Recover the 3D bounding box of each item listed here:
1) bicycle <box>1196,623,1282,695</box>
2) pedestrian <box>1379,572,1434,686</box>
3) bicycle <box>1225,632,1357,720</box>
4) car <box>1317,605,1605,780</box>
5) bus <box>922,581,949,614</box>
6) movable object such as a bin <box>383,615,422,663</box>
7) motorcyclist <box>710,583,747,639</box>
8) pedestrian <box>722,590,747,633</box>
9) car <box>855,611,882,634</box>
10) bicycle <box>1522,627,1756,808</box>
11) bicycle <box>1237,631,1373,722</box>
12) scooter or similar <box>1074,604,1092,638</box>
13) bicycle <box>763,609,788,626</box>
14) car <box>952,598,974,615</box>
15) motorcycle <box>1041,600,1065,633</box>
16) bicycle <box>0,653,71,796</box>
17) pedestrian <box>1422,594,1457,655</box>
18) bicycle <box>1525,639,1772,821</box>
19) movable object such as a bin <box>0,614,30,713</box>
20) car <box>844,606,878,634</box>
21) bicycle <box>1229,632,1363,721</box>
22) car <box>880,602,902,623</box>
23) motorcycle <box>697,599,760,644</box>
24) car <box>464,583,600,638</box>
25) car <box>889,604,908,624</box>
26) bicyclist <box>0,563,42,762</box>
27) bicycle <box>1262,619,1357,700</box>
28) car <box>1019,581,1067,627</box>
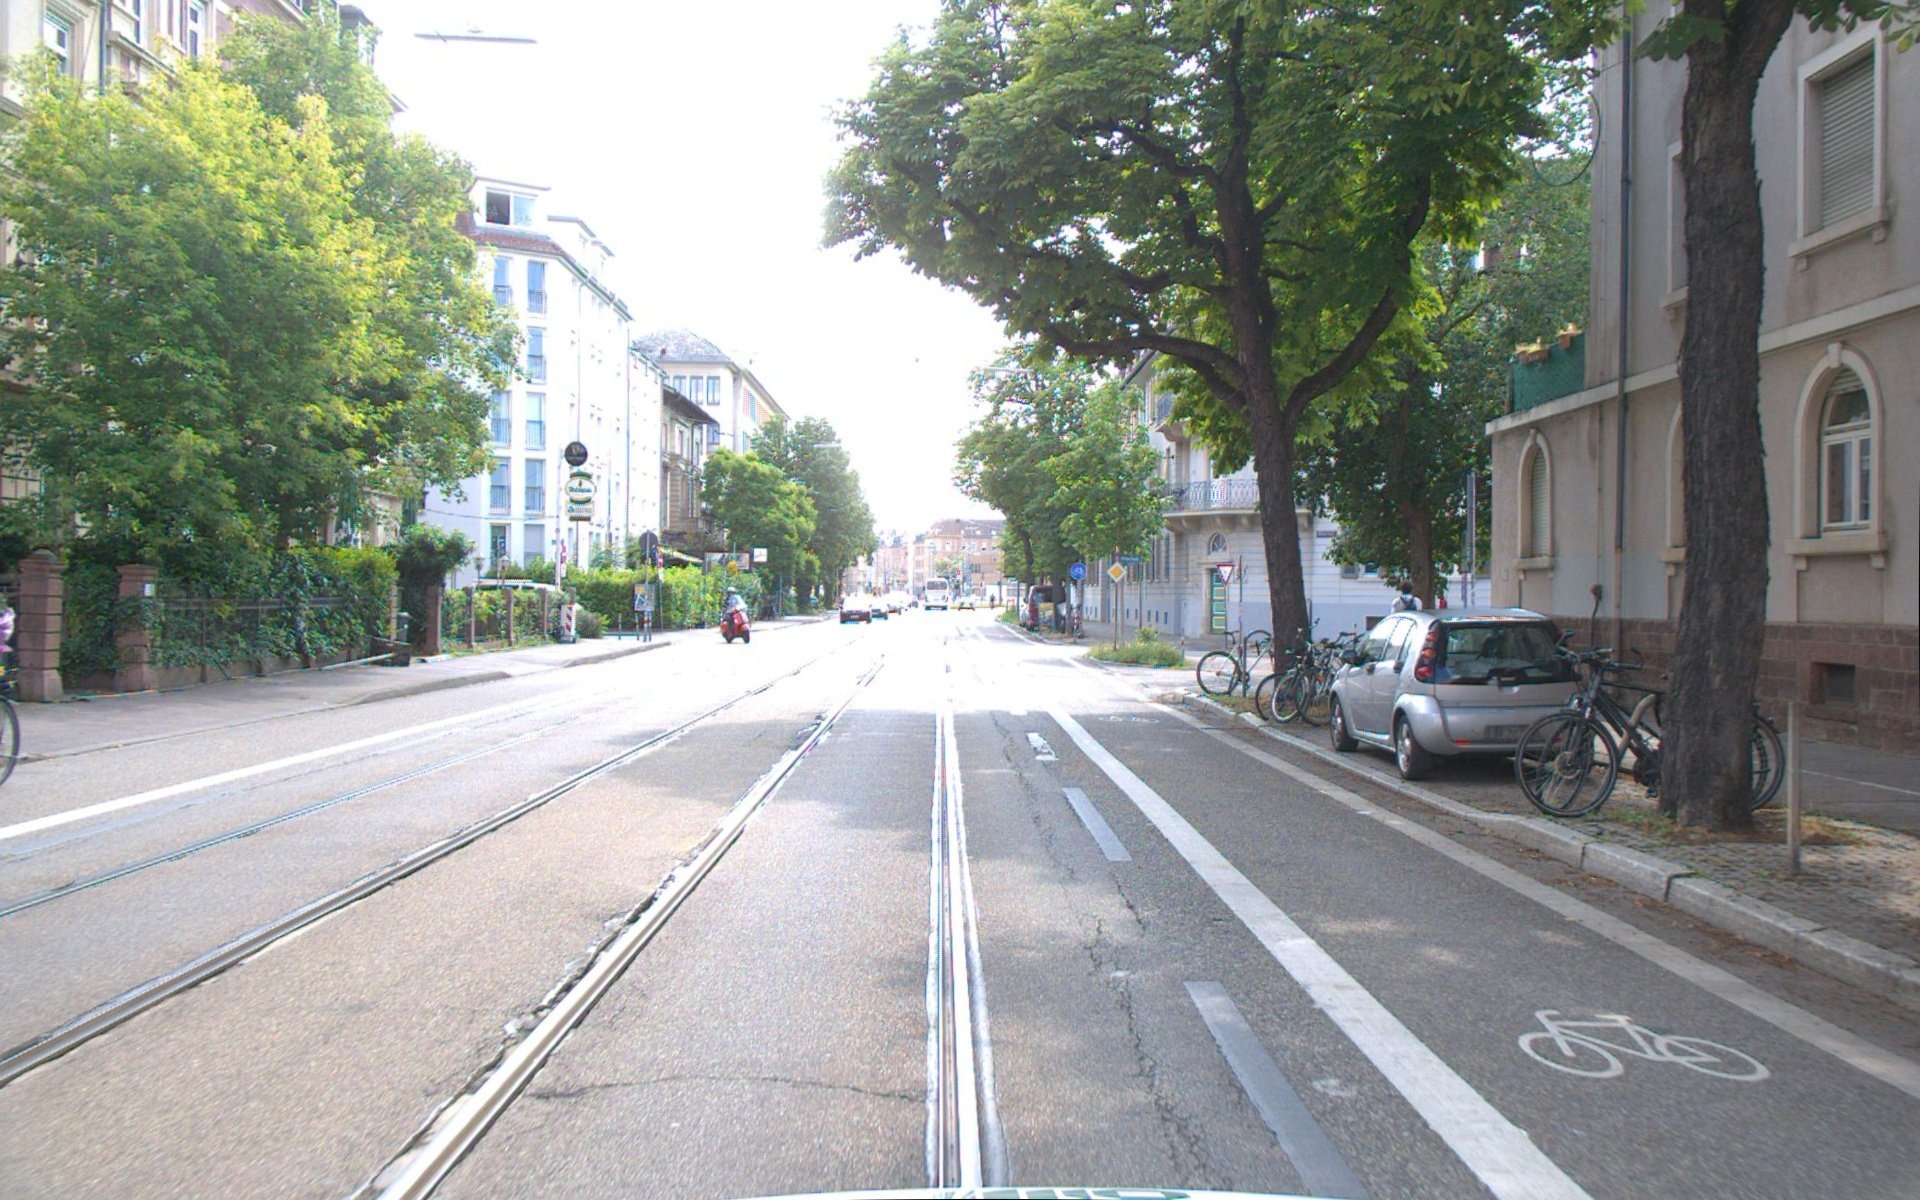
[{"bbox_3d":[4.286,0.905,25.454,1.242,1.085,0.478,0,0,-2],"label":"bicycle"},{"bbox_3d":[7.449,0.470,27.621,0.605,1.866,1.030,0,0,-2],"label":"pedestrian"},{"bbox_3d":[4.218,0.963,21.116,1.612,1.089,0.348,0,0,3],"label":"bicycle"},{"bbox_3d":[4.652,0.788,15.911,1.553,1.470,3.897,0,0,-1],"label":"car"},{"bbox_3d":[-2.726,-0.224,181.822,2.858,3.386,12.202,1,-1,-1],"label":"bus"},{"bbox_3d":[-11.190,0.781,33.198,0.567,0.941,0.641,0,0,-1],"label":"movable object such as a bin"},{"bbox_3d":[-7.231,0.338,51.715,0.903,1.744,0.738,0,-1,37],"label":"motorcyclist"},{"bbox_3d":[-10.256,0.535,75.214,1.037,1.951,0.829,0,-1,0],"label":"pedestrian"},{"bbox_3d":[-5.957,1.464,107.720,1.595,1.432,4.128,0,0,-1],"label":"car"},{"bbox_3d":[4.807,0.818,11.772,1.456,1.242,0.518,0,-1,6],"label":"bicycle"},{"bbox_3d":[4.240,0.938,20.368,1.612,1.089,0.348,0,0,2],"label":"bicycle"},{"bbox_3d":[4.625,0.778,62.265,0.521,1.273,1.720,-1,0,0],"label":"scooter or similar"},{"bbox_3d":[-11.025,1.054,98.803,1.119,0.924,2.988,3,0,-1],"label":"bicycle"},{"bbox_3d":[0.319,0.678,176.510,2.087,1.713,4.101,1,1,-2],"label":"car"},{"bbox_3d":[3.836,0.670,68.447,0.839,1.344,2.445,0,0,0],"label":"motorcycle"},{"bbox_3d":[-7.298,0.925,12.059,0.557,1.007,1.918,0,0,1],"label":"bicycle"},{"bbox_3d":[15.616,0.797,53.820,0.955,1.971,0.901,1,-1,26],"label":"pedestrian"},{"bbox_3d":[4.635,0.860,11.197,1.456,1.173,0.518,0,0,6],"label":"bicycle"},{"bbox_3d":[-11.362,0.728,19.278,0.654,1.127,0.733,0,0,-4],"label":"movable object such as a bin"},{"bbox_3d":[-5.481,1.078,91.991,1.561,1.465,3.936,-1,0,1],"label":"car"},{"bbox_3d":[4.202,0.948,20.729,1.612,1.089,0.348,0,0,3],"label":"bicycle"},{"bbox_3d":[-5.392,0.949,129.580,1.692,1.567,4.275,-1,0,-2],"label":"car"},{"bbox_3d":[-7.248,0.673,51.721,2.047,1.384,0.739,0,0,37],"label":"motorcycle"},{"bbox_3d":[-16.495,0.412,63.747,4.829,2.049,2.050,0,0,21],"label":"car"},{"bbox_3d":[-6.133,1.423,165.283,1.859,1.941,5.382,0,0,-2],"label":"car"},{"bbox_3d":[-7.290,0.455,12.137,0.553,1.450,0.942,0,0,1],"label":"bicyclist"},{"bbox_3d":[5.349,0.885,25.426,0.576,1.178,1.826,0,0,-19],"label":"bicycle"},{"bbox_3d":[3.700,0.176,74.547,1.857,1.975,4.949,0,0,-1],"label":"car"}]
